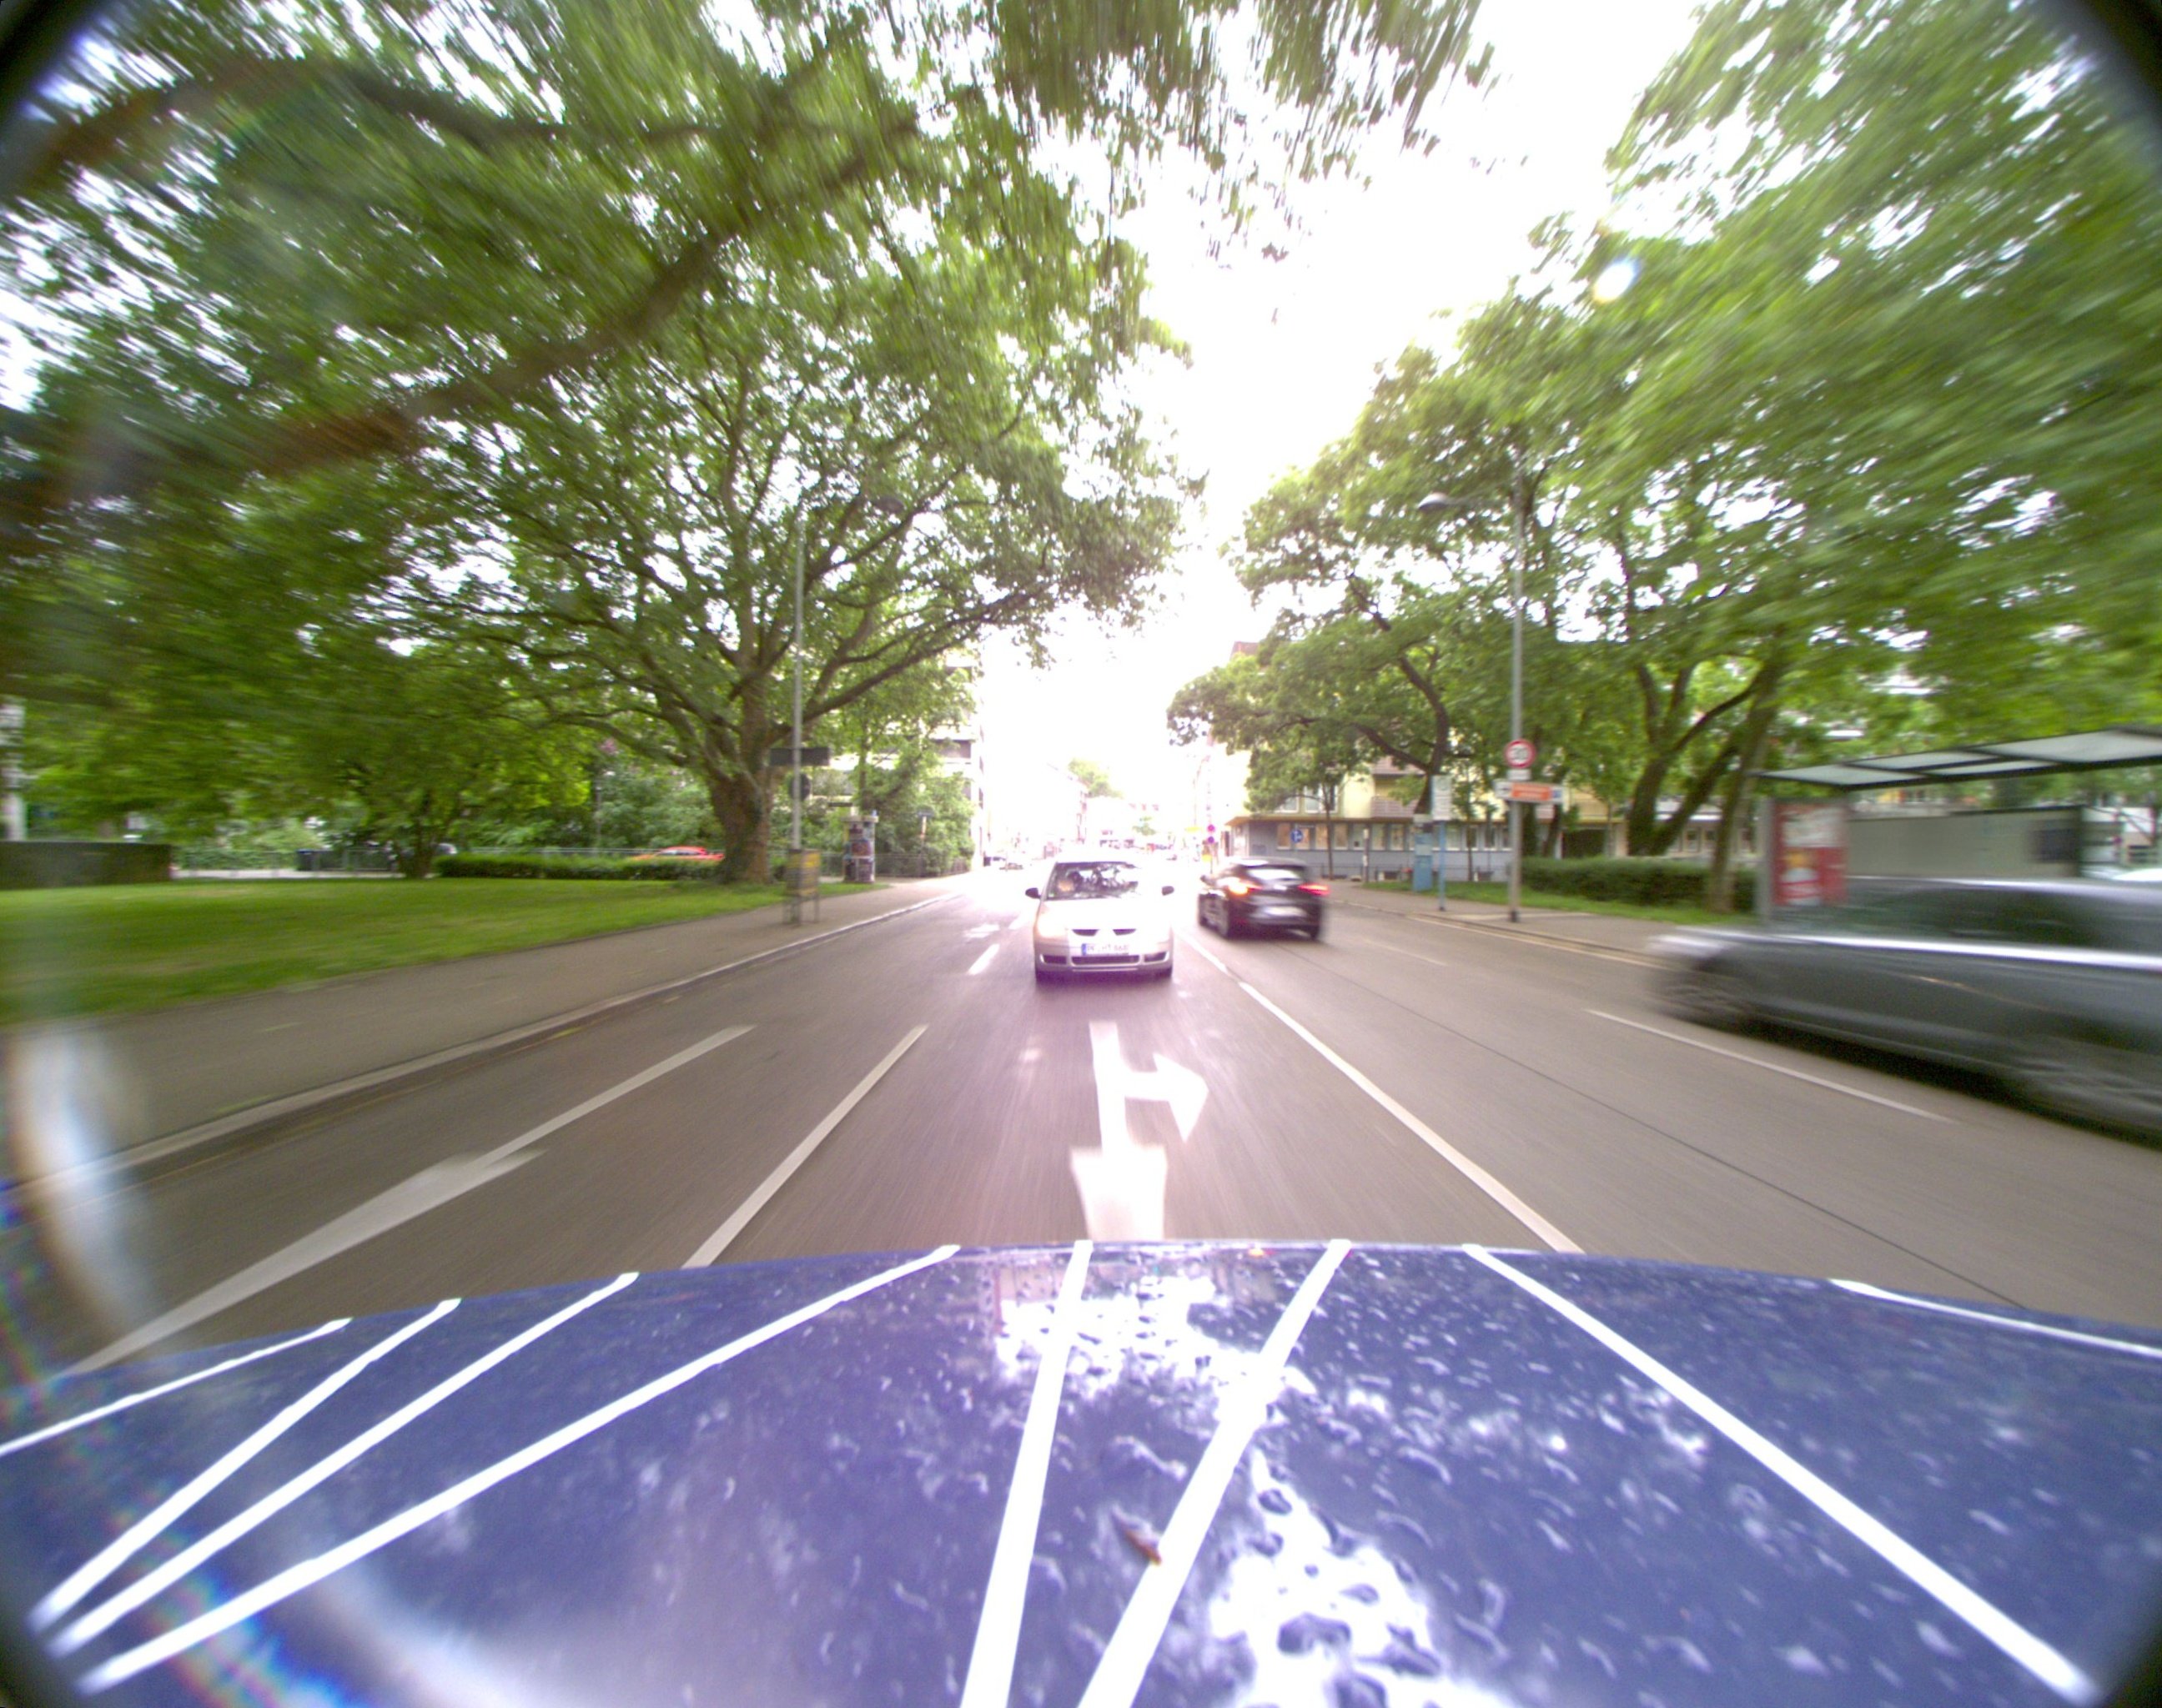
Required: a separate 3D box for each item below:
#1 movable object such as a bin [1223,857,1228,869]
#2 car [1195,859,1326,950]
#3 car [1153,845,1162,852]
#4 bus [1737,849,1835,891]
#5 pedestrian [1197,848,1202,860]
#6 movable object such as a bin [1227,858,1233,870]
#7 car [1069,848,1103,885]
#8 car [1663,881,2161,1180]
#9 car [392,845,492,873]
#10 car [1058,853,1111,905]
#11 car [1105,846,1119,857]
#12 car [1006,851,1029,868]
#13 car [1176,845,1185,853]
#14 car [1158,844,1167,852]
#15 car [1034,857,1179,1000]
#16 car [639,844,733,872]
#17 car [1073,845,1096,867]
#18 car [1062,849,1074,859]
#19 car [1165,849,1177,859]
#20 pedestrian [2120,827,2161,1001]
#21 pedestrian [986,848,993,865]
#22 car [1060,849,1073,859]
[{"bbox_3d":[12.308,0.784,64.708,0.338,1.023,0.353,1,1,7],"label":"movable object such as a bin"},{"bbox_3d":[3.175,0.833,14.079,1.628,1.407,3.454,1,1,1],"label":"car"},{"bbox_3d":[18.060,-1.213,178.850,1.998,1.631,4.001,1,0,4],"label":"car"},{"bbox_3d":[33.474,0.767,36.098,3.731,1.913,1.711,1,1,-17],"label":"bus"},{"bbox_3d":[17.672,0.004,113.442,0.594,1.833,0.565,1,1,7],"label":"pedestrian"},{"bbox_3d":[12.694,0.846,64.727,0.415,1.023,0.353,1,1,7],"label":"movable object such as a bin"},{"bbox_3d":[0.209,0.552,36.997,1.584,1.705,3.648,1,1,-1],"label":"car"},{"bbox_3d":[6.460,0.993,5.167,1.813,1.409,4.030,2,0,-1],"label":"car"},{"bbox_3d":[-30.934,0.218,36.855,3.468,1.271,1.448,1,1,-5],"label":"car"},{"bbox_3d":[0.171,0.759,24.944,1.590,1.540,3.771,1,1,2],"label":"car"},{"bbox_3d":[4.238,-0.329,105.060,1.701,1.434,3.896,1,0,0],"label":"car"},{"bbox_3d":[-5.801,0.446,69.847,1.681,1.424,3.681,4,0,0],"label":"car"},{"bbox_3d":[24.013,-1.203,182.688,1.867,1.648,4.001,1,0,4],"label":"car"},{"bbox_3d":[19.769,-1.357,184.218,1.998,1.841,4.001,1,0,4],"label":"car"},{"bbox_3d":[0.288,0.836,10.059,1.576,1.514,3.240,-1,1,0],"label":"car"},{"bbox_3d":[-19.560,0.198,37.743,3.790,1.271,1.576,1,1,-4],"label":"car"},{"bbox_3d":[0.293,0.146,69.280,1.935,1.817,3.999,2,1,-1],"label":"car"},{"bbox_3d":[-2.161,0.007,127.728,1.870,1.571,3.821,1,0,1],"label":"car"},{"bbox_3d":[16.284,-0.076,137.641,1.889,1.707,4.001,1,0,4],"label":"car"},{"bbox_3d":[11.261,0.589,7.268,0.994,1.732,1.209,-2,1,0],"label":"pedestrian"},{"bbox_3d":[-8.517,0.214,70.825,0.480,1.521,0.481,-2,2,0],"label":"pedestrian"},{"bbox_3d":[-2.163,0.032,114.242,1.802,1.434,3.896,1,0,0],"label":"car"}]
